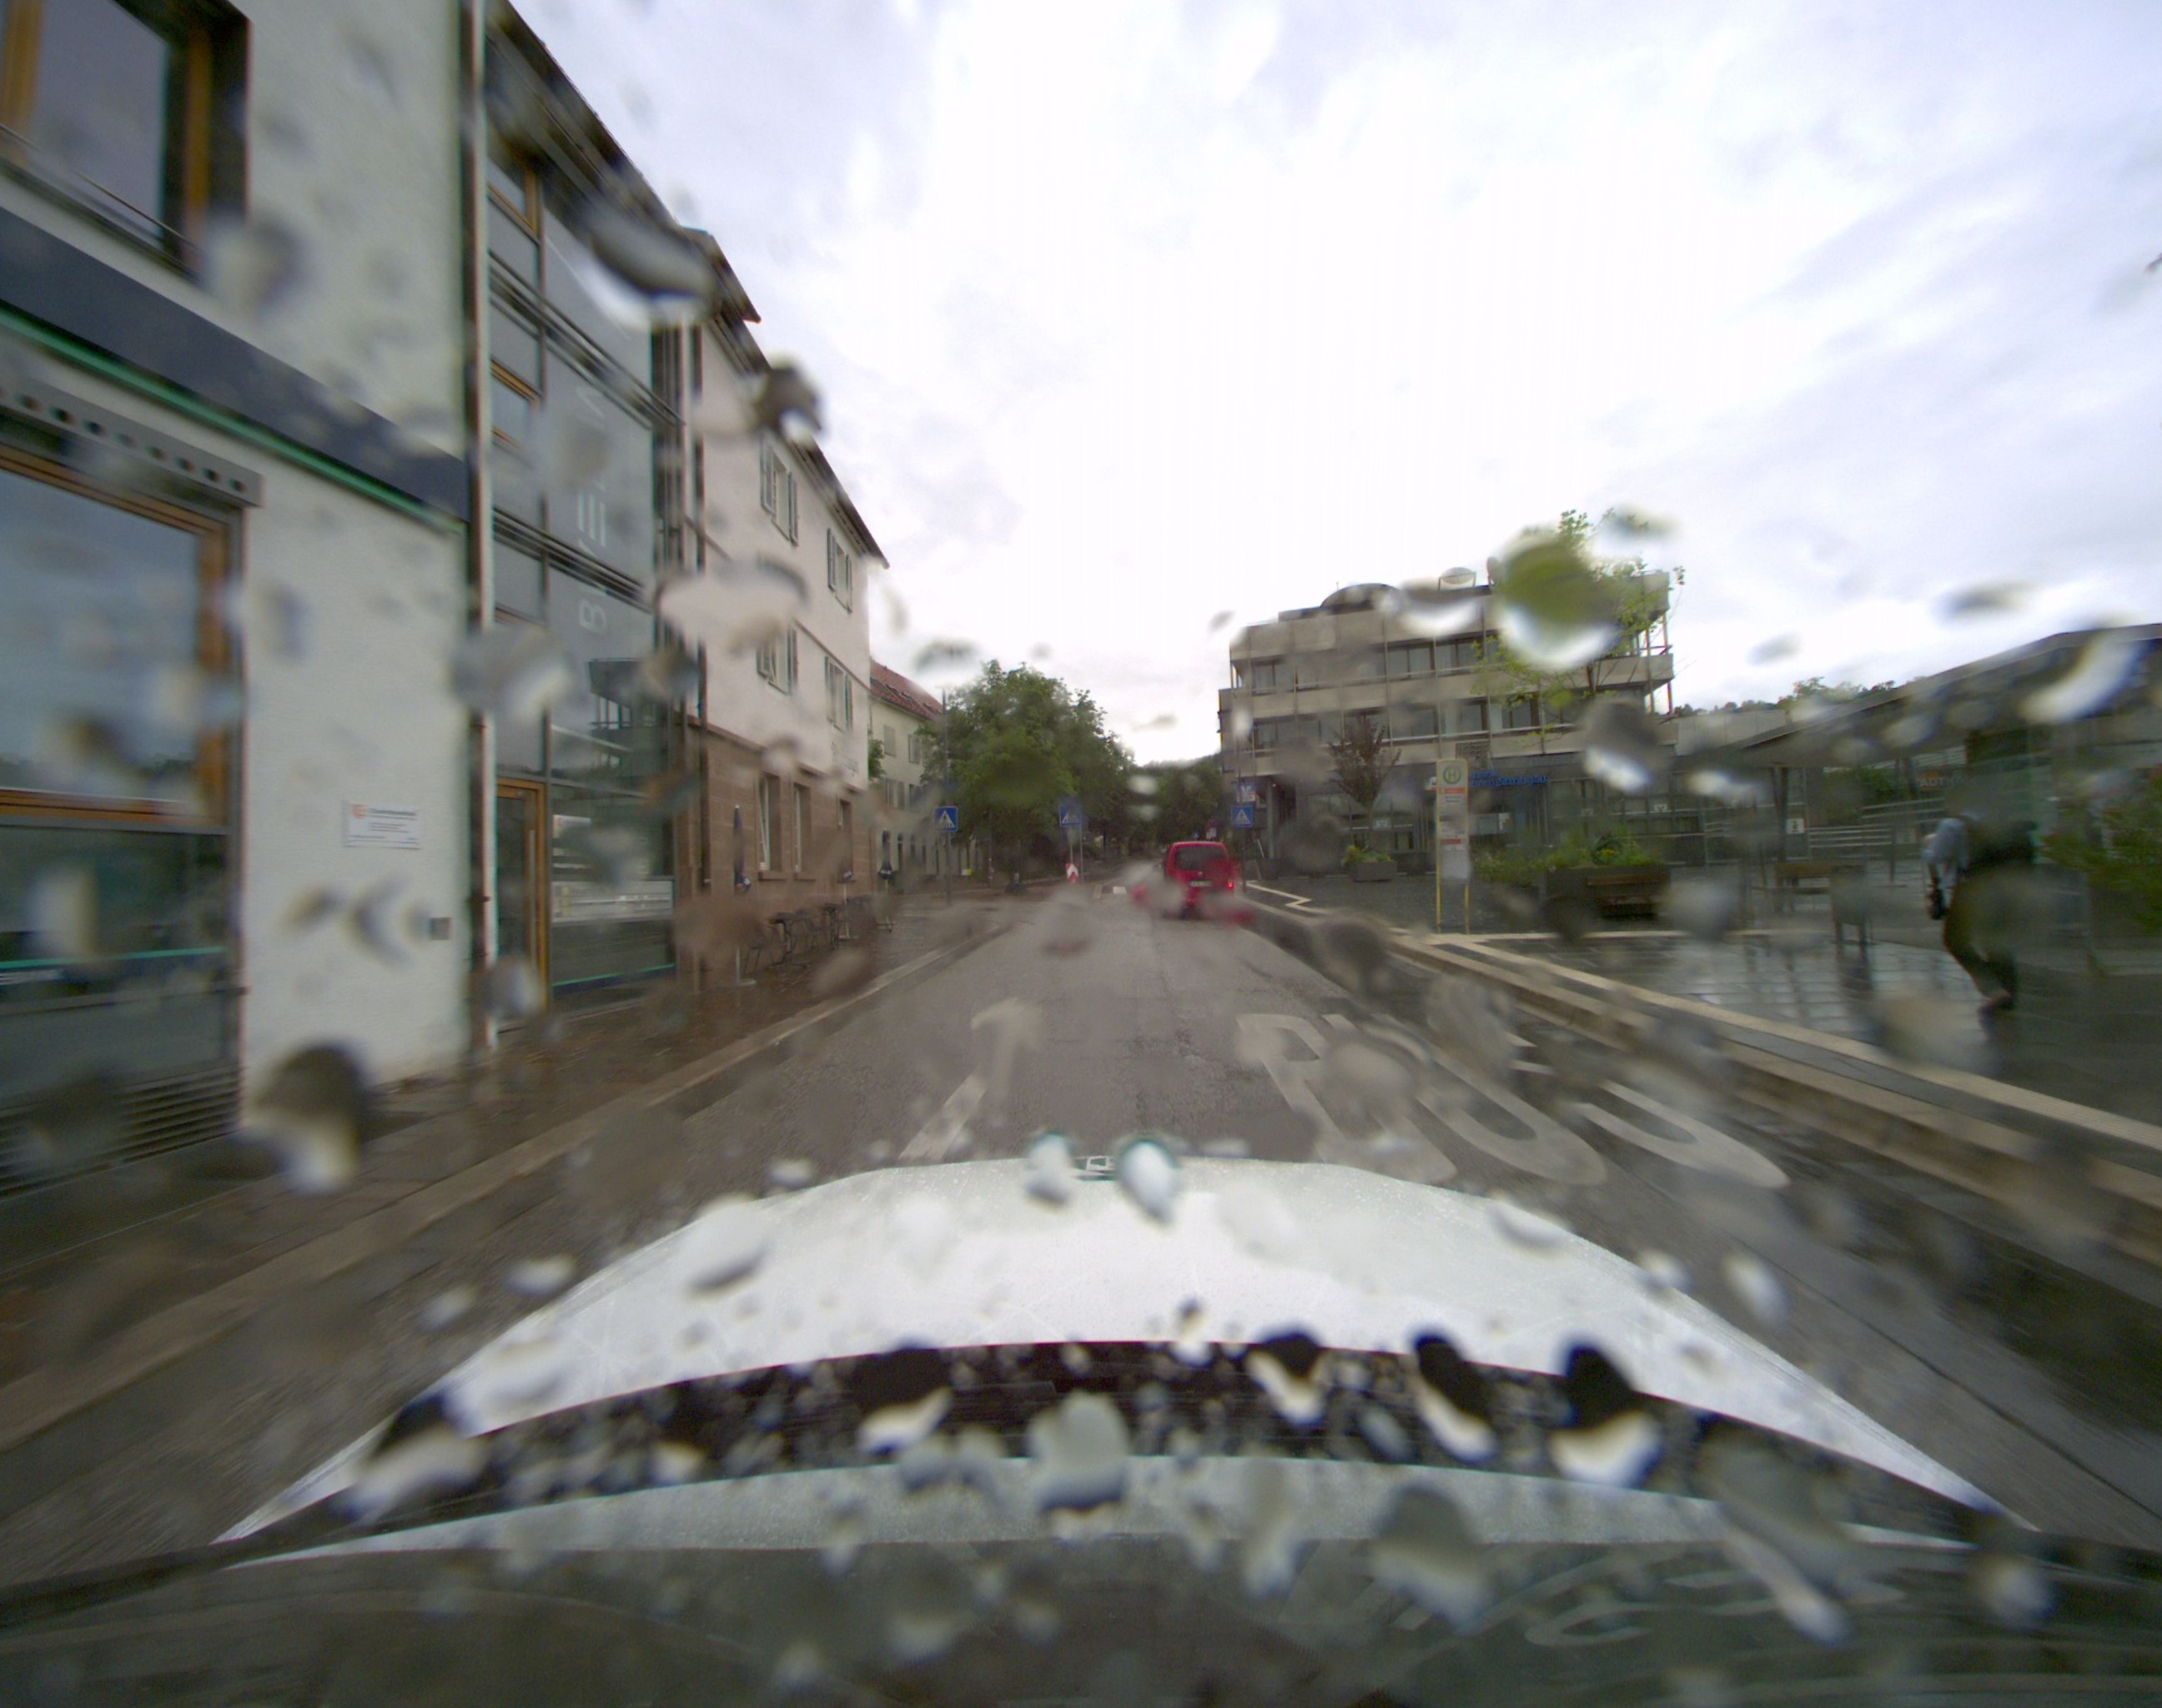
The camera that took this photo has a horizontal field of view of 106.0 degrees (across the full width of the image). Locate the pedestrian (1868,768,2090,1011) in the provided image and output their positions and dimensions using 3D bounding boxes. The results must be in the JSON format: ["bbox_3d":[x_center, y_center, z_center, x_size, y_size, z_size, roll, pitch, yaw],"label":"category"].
[{"bbox_3d":[6.446,0.251,5.897,0.724,1.617,0.695,-3,-1,8],"label":"pedestrian"}]

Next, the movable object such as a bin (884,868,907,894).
[{"bbox_3d":[-8.323,1.207,36.545,0.731,1.124,0.653,-4,-1,18],"label":"movable object such as a bin"}]

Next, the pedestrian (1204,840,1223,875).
[{"bbox_3d":[7.054,0.198,43.275,0.828,1.830,0.818,-3,-2,13],"label":"pedestrian"}]

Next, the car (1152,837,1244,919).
[{"bbox_3d":[2.886,0.575,20.908,1.855,1.830,4.187,-2,-1,2],"label":"car"}]
